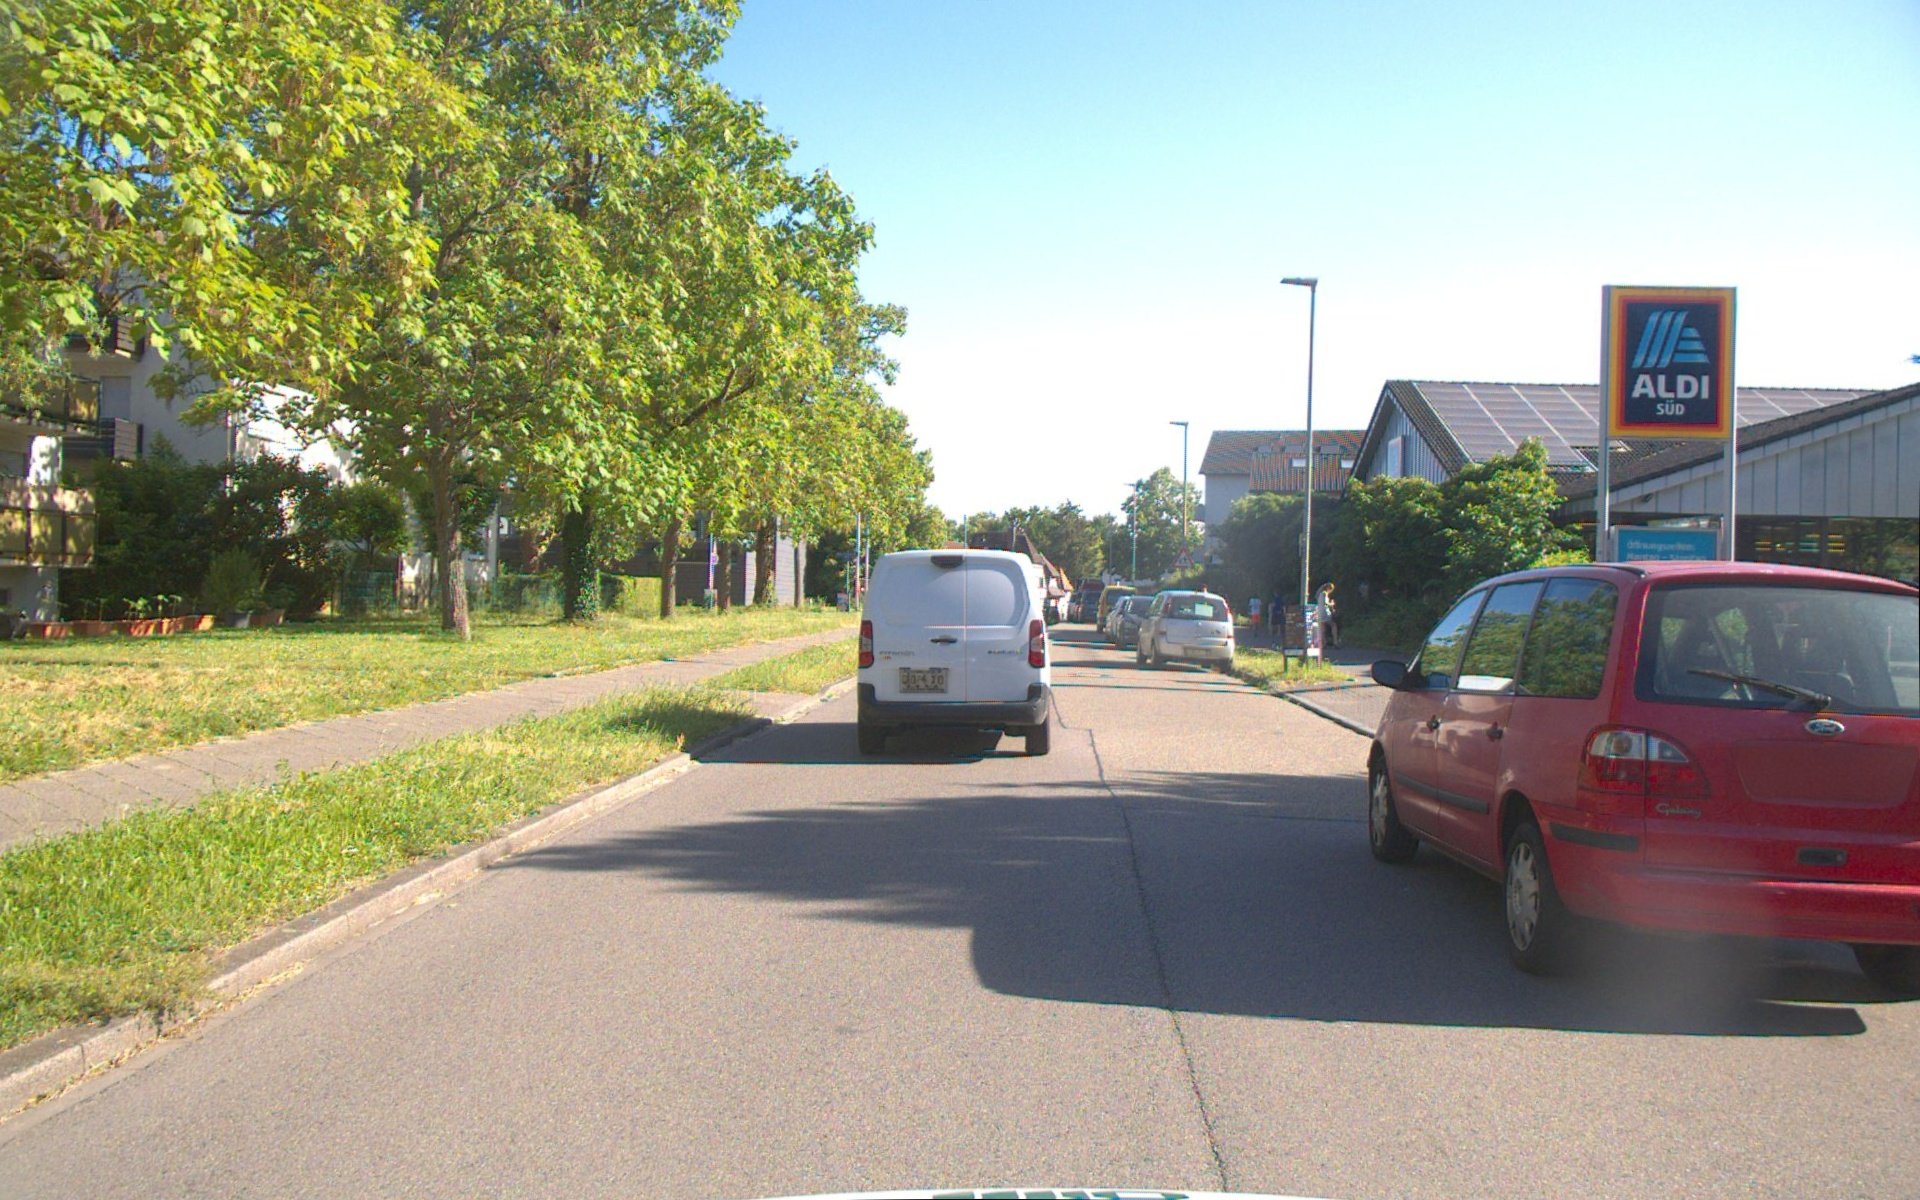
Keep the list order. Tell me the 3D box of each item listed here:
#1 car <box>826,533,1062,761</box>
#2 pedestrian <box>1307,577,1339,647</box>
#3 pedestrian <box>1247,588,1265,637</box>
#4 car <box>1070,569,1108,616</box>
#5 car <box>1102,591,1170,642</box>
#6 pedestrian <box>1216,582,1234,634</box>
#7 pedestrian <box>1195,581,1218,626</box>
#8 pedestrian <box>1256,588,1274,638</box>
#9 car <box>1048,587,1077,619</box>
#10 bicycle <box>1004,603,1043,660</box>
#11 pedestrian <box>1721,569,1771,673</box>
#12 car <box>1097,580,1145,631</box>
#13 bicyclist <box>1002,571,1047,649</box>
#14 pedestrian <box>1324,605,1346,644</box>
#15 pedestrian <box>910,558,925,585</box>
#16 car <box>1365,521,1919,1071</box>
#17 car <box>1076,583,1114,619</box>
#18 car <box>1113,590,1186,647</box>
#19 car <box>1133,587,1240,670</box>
[{"bbox_3d":[-0.008,0.386,16.306,1.952,1.914,4.291,1,0,4],"label":"car"},{"bbox_3d":[9.564,0.304,43.566,0.781,1.813,0.809,1,0,11],"label":"pedestrian"},{"bbox_3d":[10.175,0.412,56.893,0.555,1.665,0.547,1,0,8],"label":"pedestrian"},{"bbox_3d":[7.615,-0.431,97.987,1.828,2.607,4.768,3,-1,1],"label":"car"},{"bbox_3d":[5.533,0.502,52.333,1.788,1.477,4.001,2,0,1],"label":"car"},{"bbox_3d":[8.701,0.263,54.380,0.555,1.665,0.547,1,0,8],"label":"pedestrian"},{"bbox_3d":[10.596,0.152,71.206,0.778,1.894,0.873,1,0,-5],"label":"pedestrian"},{"bbox_3d":[10.488,0.443,56.834,0.555,1.665,0.547,1,0,8],"label":"pedestrian"},{"bbox_3d":[7.206,0.210,116.790,1.767,2.105,4.000,3,-1,1],"label":"car"},{"bbox_3d":[1.338,0.651,35.179,0.770,1.158,2.280,1,0,1],"label":"bicycle"},{"bbox_3d":[12.731,0.333,26.816,0.677,1.660,0.776,1,0,24],"label":"pedestrian"},{"bbox_3d":[6.179,0.211,63.907,1.688,1.869,4.002,1,0,4],"label":"car"},{"bbox_3d":[1.365,0.222,35.179,0.887,1.612,0.966,2,-1,1],"label":"bicyclist"},{"bbox_3d":[10.048,0.652,44.353,0.521,0.997,0.811,1,0,11],"label":"pedestrian"},{"bbox_3d":[-2.368,-1.593,92.337,0.501,1.471,0.637,1,0,36],"label":"pedestrian"},{"bbox_3d":[3.278,0.653,7.898,1.801,1.837,4.656,1,0,4],"label":"car"},{"bbox_3d":[7.354,0.063,90.523,1.767,1.816,4.000,3,-1,1],"label":"car"},{"bbox_3d":[5.275,0.477,46.476,1.769,1.468,4.365,2,0,3],"label":"car"},{"bbox_3d":[4.726,0.573,35.002,1.645,1.627,4.027,2,0,-1],"label":"car"}]
